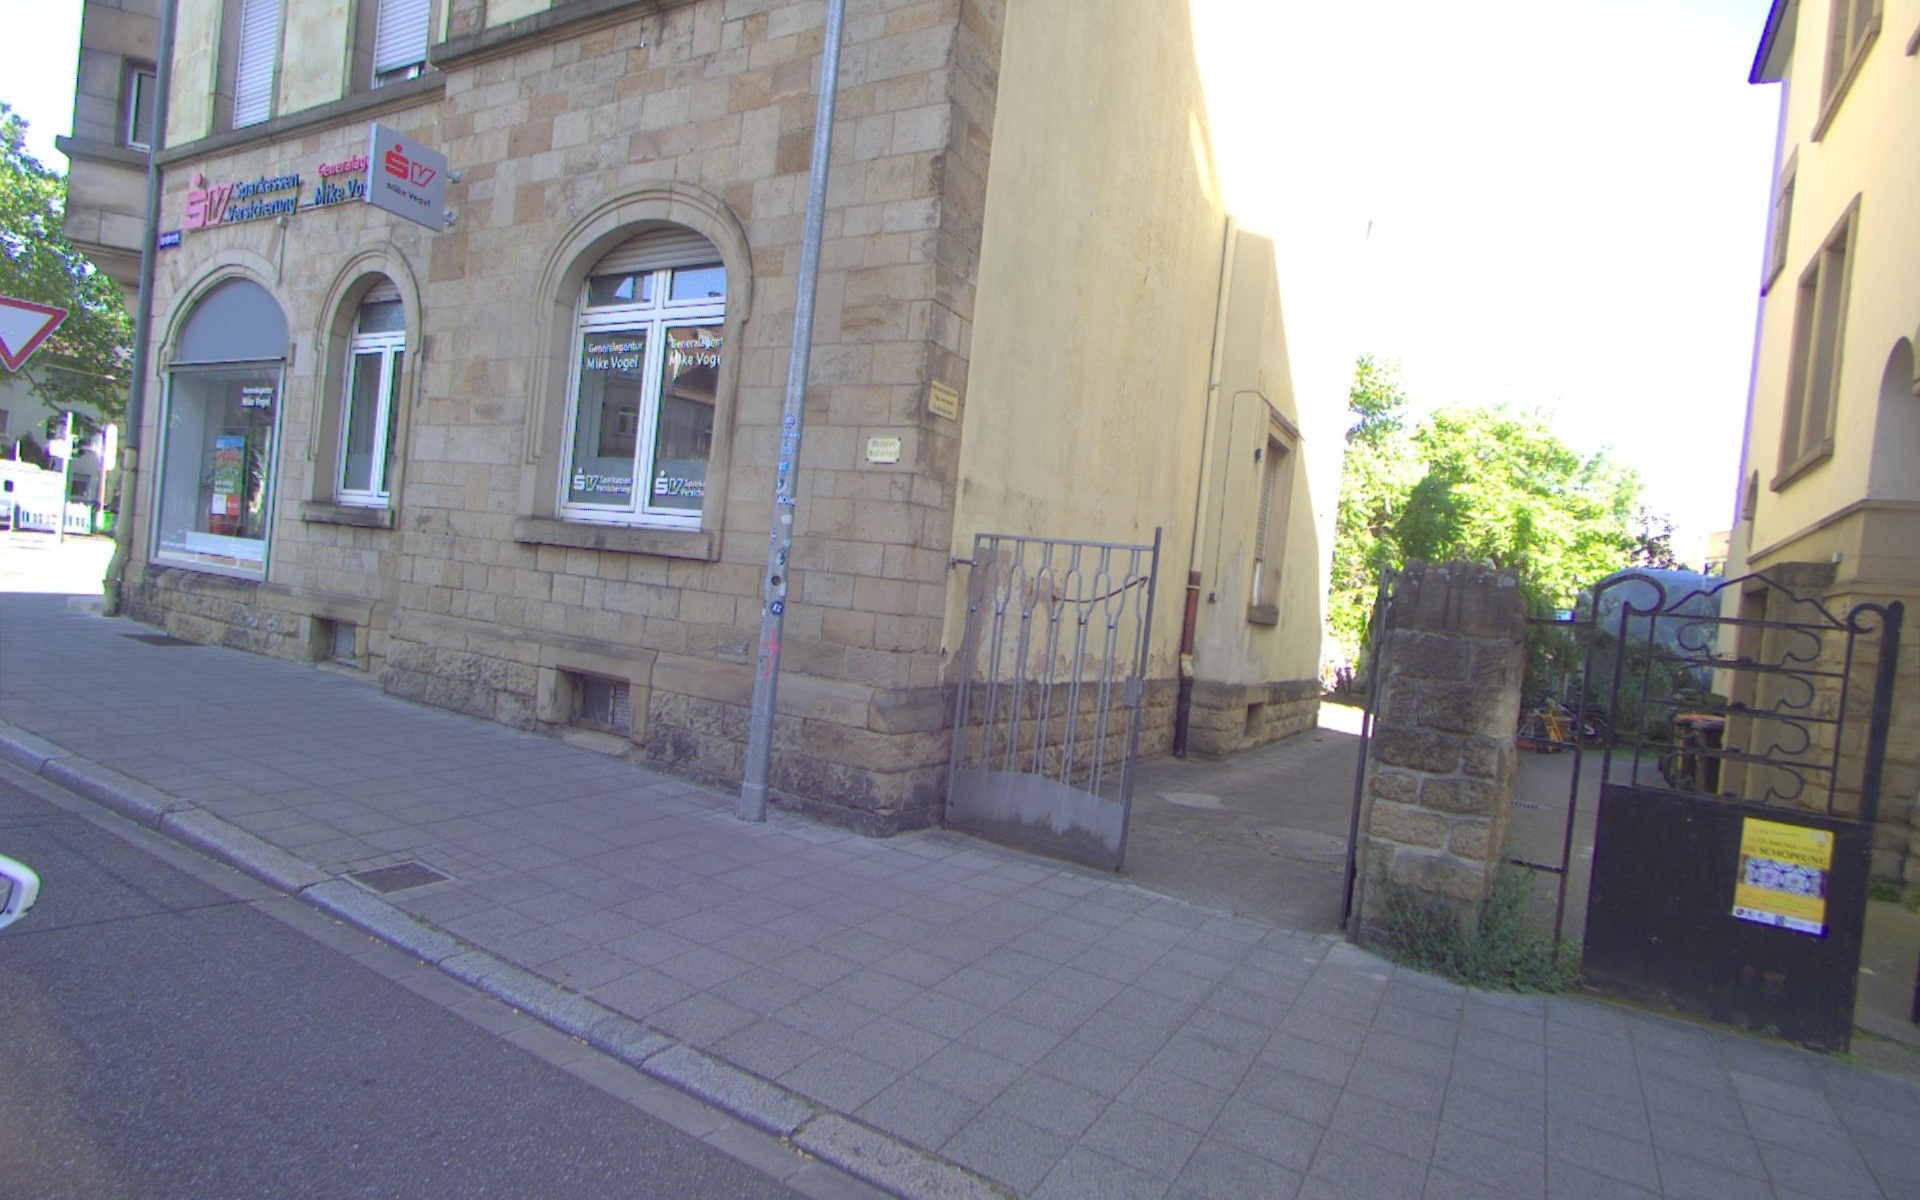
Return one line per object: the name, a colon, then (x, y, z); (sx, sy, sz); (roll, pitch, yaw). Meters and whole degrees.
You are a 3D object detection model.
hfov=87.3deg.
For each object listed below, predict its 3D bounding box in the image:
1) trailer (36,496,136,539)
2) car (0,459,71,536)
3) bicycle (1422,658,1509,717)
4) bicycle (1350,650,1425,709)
trailer: (-35.183, -3.312, 40.573); (1.246, 1.328, 2.749); (7, 0, 13)
car: (-36.211, -3.957, 36.248); (1.962, 2.600, 6.061); (7, 0, 14)
bicycle: (12.304, 2.101, 24.617); (0.855, 1.124, 2.864); (6, 0, 7)
bicycle: (10.617, 1.944, 25.088); (0.860, 1.180, 2.659); (6, 0, 6)
